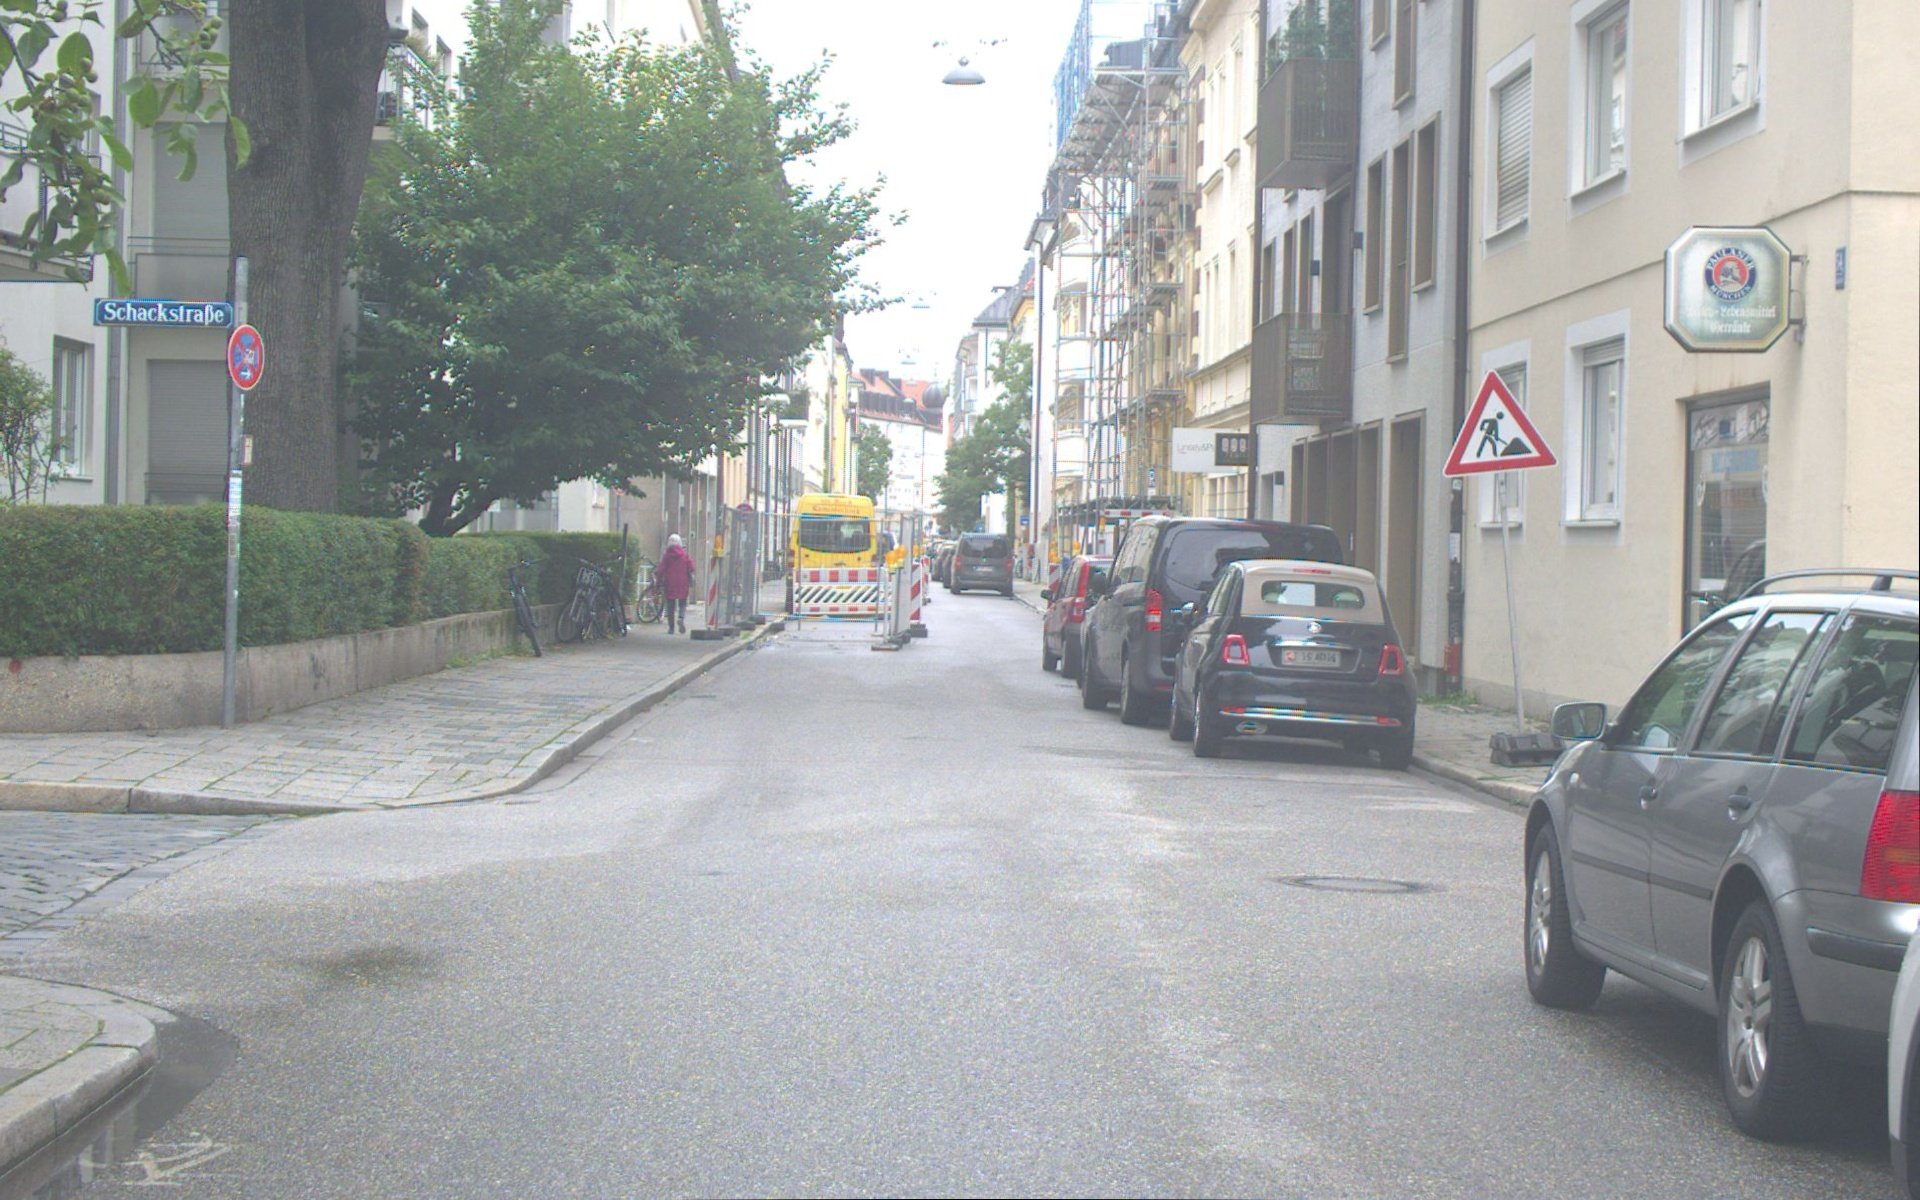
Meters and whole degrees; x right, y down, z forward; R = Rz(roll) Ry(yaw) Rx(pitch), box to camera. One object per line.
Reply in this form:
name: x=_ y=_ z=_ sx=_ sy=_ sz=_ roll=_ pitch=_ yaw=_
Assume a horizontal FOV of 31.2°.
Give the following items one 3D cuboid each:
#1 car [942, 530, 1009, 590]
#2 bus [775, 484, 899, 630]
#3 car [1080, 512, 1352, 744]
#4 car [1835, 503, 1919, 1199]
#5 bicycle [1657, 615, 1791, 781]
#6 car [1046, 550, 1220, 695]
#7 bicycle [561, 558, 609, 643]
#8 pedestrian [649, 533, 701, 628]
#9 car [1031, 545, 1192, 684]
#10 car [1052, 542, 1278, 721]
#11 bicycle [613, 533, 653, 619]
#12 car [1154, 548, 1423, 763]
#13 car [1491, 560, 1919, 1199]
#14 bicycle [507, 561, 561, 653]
car: x=0.467 y=-1.271 z=108.760 sx=1.801 sy=1.706 sz=3.827 roll=5 pitch=1 yaw=-3
bus: x=-2.690 y=-0.947 z=76.768 sx=2.592 sy=3.091 sz=6.306 roll=1 pitch=0 yaw=-1
car: x=2.236 y=0.197 z=31.108 sx=1.801 sy=1.814 sz=4.001 roll=5 pitch=1 yaw=-3
car: x=2.718 y=0.683 z=4.674 sx=1.748 sy=1.624 sz=4.197 roll=1 pitch=1 yaw=-3
bicycle: x=5.012 y=0.625 z=22.625 sx=0.474 sy=1.022 sz=1.705 roll=-1 pitch=0 yaw=-1
car: x=1.930 y=0.220 z=39.215 sx=1.563 sy=1.429 sz=3.416 roll=5 pitch=1 yaw=-2
bicycle: x=-4.882 y=-0.005 z=44.810 sx=0.446 sy=1.069 sz=2.468 roll=1 pitch=0 yaw=-3
pedestrian: x=-4.522 y=-0.308 z=54.604 sx=0.756 sy=1.486 sz=0.831 roll=1 pitch=0 yaw=-1
car: x=1.850 y=0.146 z=42.989 sx=1.635 sy=1.509 sz=3.829 roll=5 pitch=1 yaw=-1
car: x=2.034 y=0.274 z=35.203 sx=1.801 sy=1.562 sz=4.001 roll=5 pitch=1 yaw=-2
bicycle: x=-5.473 y=-0.399 z=57.606 sx=0.514 sy=1.413 sz=1.934 roll=1 pitch=0 yaw=-1
car: x=2.480 y=0.369 z=26.751 sx=1.624 sy=1.482 sz=3.808 roll=2 pitch=1 yaw=-1
car: x=2.813 y=0.651 z=9.922 sx=1.744 sy=1.440 sz=4.001 roll=2 pitch=1 yaw=-2
bicycle: x=-4.857 y=0.071 z=39.273 sx=0.414 sy=1.017 sz=1.854 roll=1 pitch=0 yaw=-1
